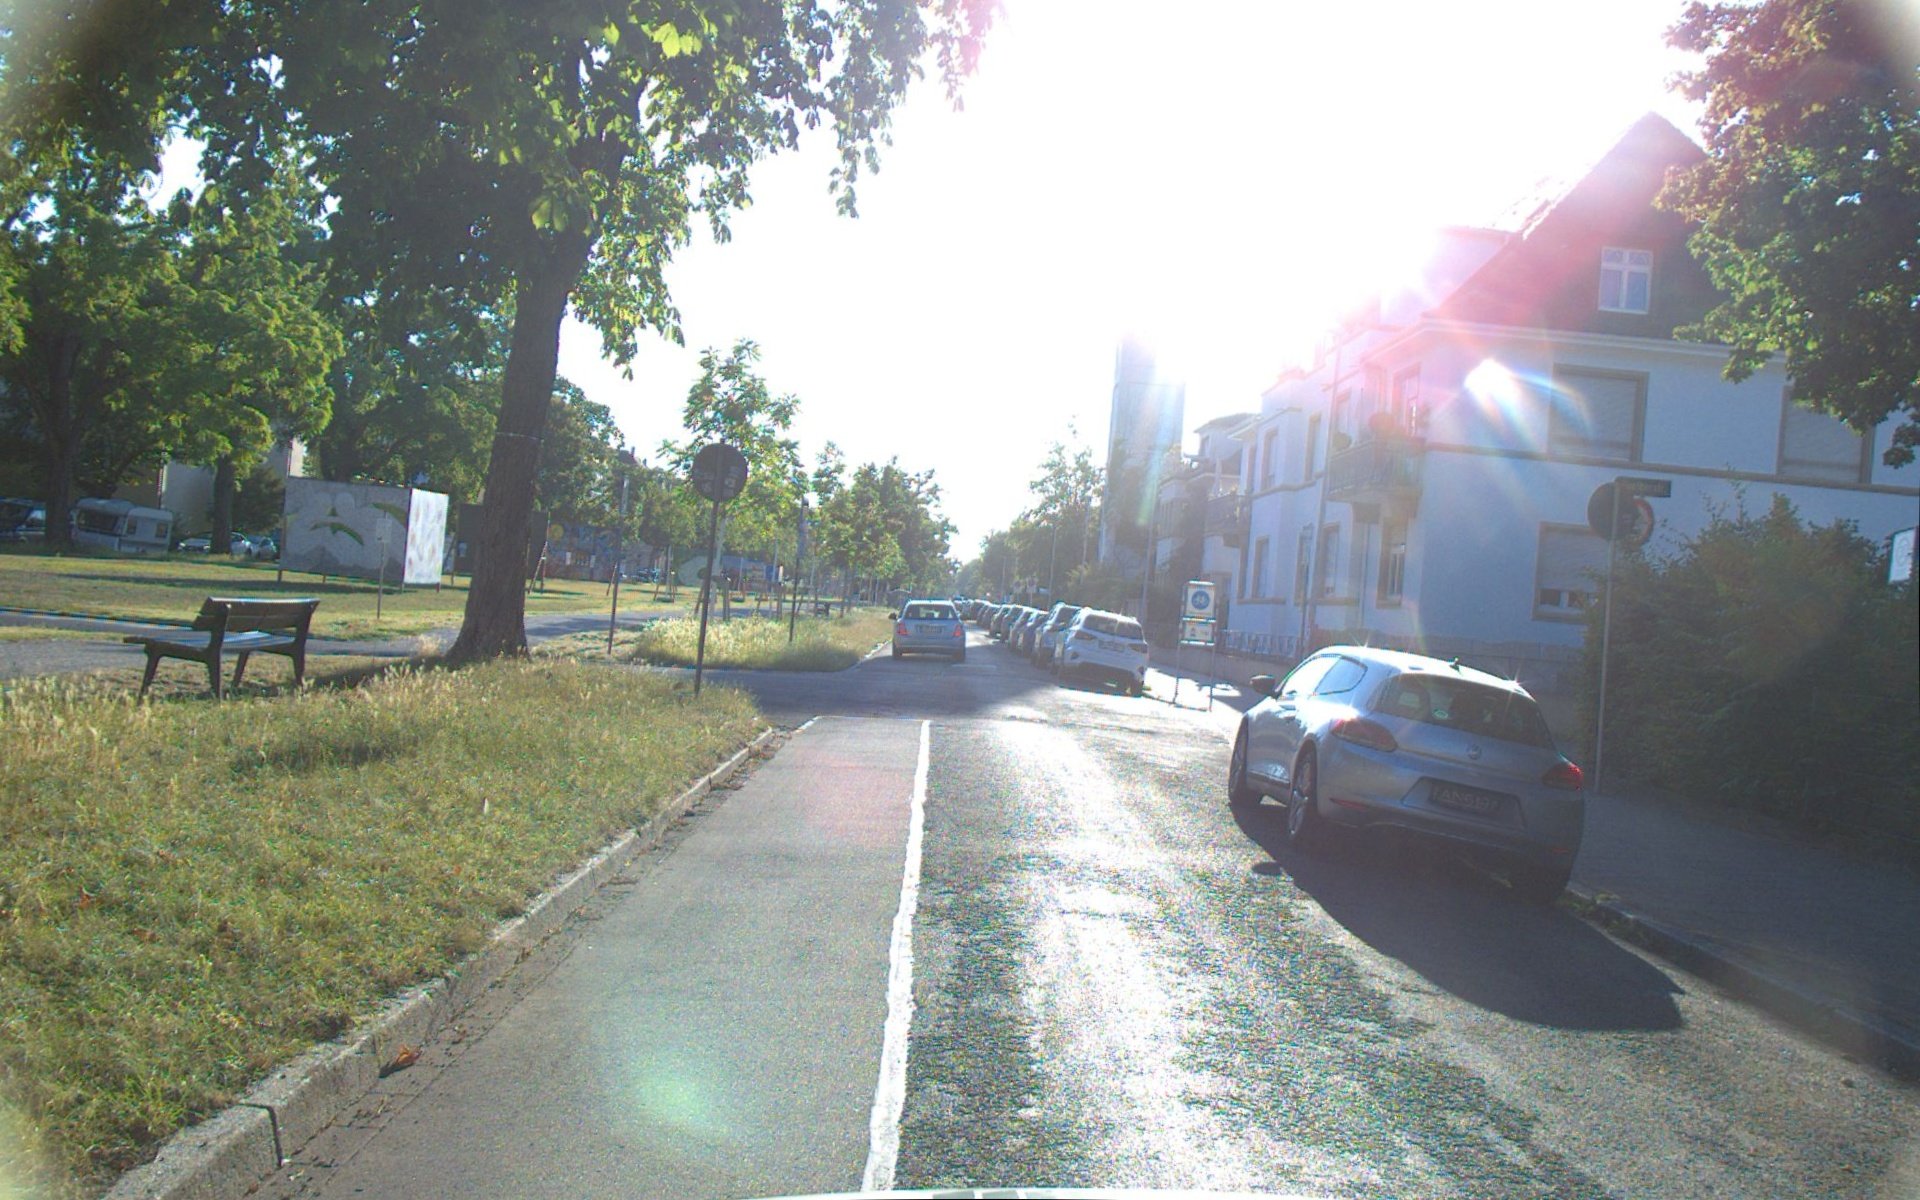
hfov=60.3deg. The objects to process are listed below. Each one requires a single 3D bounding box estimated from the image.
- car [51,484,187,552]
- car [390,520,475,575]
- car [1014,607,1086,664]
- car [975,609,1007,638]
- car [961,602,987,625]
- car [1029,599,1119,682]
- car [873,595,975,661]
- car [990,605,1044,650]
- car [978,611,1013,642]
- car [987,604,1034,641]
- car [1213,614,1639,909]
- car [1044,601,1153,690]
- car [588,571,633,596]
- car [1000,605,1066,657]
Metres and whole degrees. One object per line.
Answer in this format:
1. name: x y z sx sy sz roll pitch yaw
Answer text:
1. car: -33.755 -3.248 66.608 2.483 2.275 5.458 5 0 0
2. car: -34.188 -3.348 107.422 3.095 3.045 6.892 3 -1 0
3. car: 2.680 1.047 50.194 1.726 1.444 3.999 5 0 -2
4. car: 2.016 1.532 108.834 1.953 1.657 4.000 5 -1 0
5. car: 1.160 1.115 137.140 1.940 1.711 4.000 5 -1 0
6. car: 2.785 0.971 41.131 1.653 1.677 4.099 10 -1 -1
7. car: -0.934 0.646 40.412 1.730 1.445 3.988 3 0 -12
8. car: 2.246 1.077 65.833 1.726 1.547 3.998 7 -1 -2
9. car: 2.163 1.623 102.363 1.953 1.657 4.000 5 -1 0
10. car: 2.311 1.037 76.505 1.953 1.489 4.000 5 -1 0
11. car: 3.137 0.996 12.059 1.724 1.442 4.071 12 0 0
12. car: 2.897 0.916 35.403 1.724 1.632 4.357 5 0 -2
13. car: -35.381 -1.675 167.838 3.095 2.185 6.109 3 -1 0
14. car: 2.414 1.011 55.653 1.727 1.444 3.998 8 -1 -2
